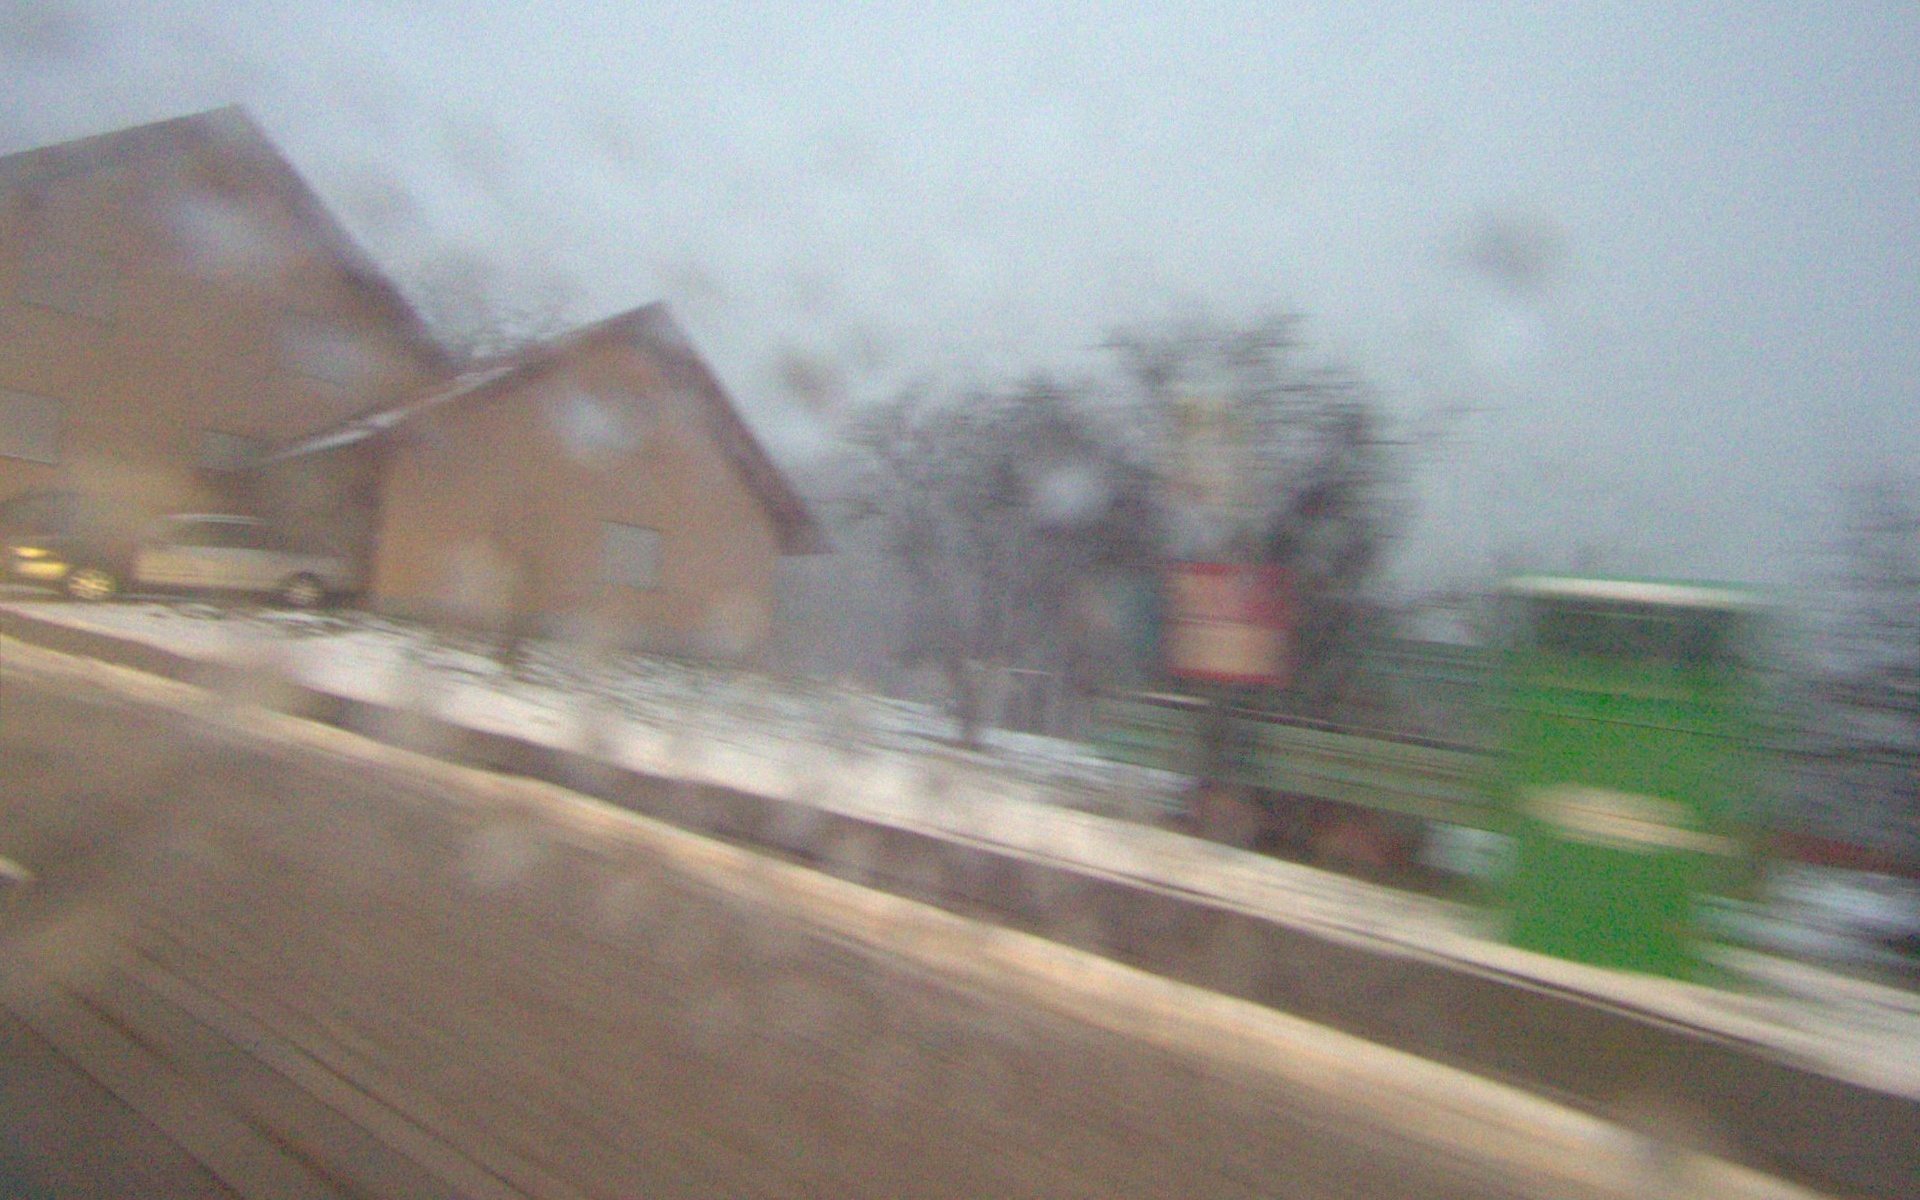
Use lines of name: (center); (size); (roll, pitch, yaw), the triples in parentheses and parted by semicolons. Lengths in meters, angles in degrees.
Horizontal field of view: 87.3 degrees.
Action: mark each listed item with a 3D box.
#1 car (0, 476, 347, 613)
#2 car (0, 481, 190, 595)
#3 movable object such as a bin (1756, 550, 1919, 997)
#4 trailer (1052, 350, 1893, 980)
car: (-12.513, -0.767, 16.027); (1.974, 1.577, 4.235); (3, -3, 42)
car: (-15.614, -1.087, 16.620); (1.917, 1.577, 4.157); (3, -3, 37)
movable object such as a bin: (7.407, 1.212, 5.617); (4.450, 2.497, 2.387); (5, -3, 39)
trailer: (3.808, 0.318, 8.293); (4.980, 3.601, 2.880); (5, -2, 33)
